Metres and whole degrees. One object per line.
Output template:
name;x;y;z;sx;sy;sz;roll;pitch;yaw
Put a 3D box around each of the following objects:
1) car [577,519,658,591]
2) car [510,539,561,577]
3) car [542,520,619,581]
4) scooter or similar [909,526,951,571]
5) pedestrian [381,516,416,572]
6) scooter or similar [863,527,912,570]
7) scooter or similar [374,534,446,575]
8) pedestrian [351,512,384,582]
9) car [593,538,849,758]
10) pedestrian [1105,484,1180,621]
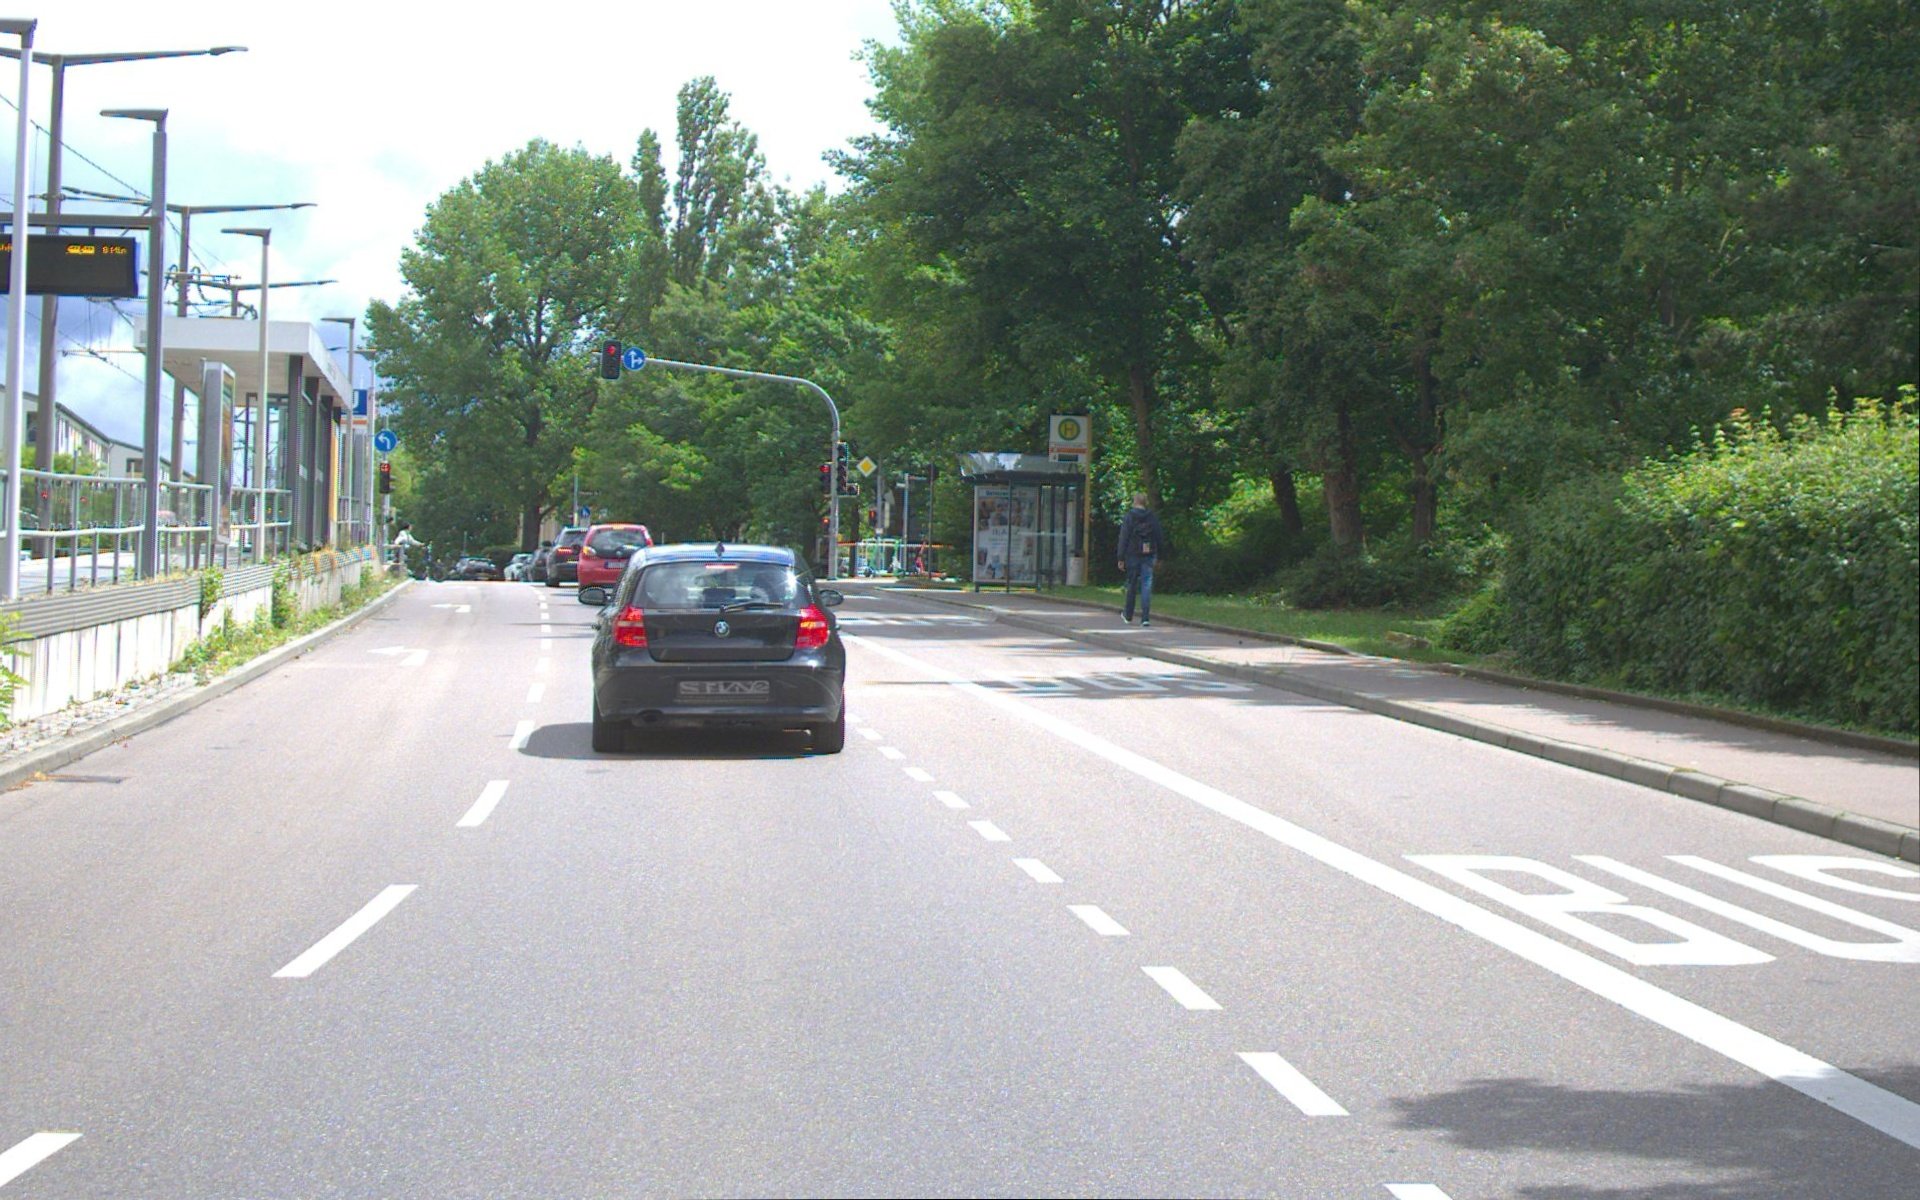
car;-7.035;-0.937;70.412;1.594;1.414;3.518;1;1;-6
car;-16.574;-1.656;134.348;1.654;1.414;3.517;2;1;-3
car;-9.020;-1.189;81.624;1.654;1.414;3.518;1;1;-9
scooter or similar;-0.846;-1.448;96.094;1.106;1.253;0.332;0;1;-18
pedestrian;-14.560;-1.449;89.190;0.865;1.437;0.799;0;1;-8
scooter or similar;-2.012;-1.420;95.206;1.287;1.185;0.385;0;1;-22
scooter or similar;-14.200;-1.167;88.757;1.780;1.047;0.410;0;1;-27
pedestrian;-13.892;-1.244;80.623;0.701;1.627;0.638;0;1;-5
car;-1.721;0.286;24.215;1.654;1.414;3.518;1;1;-5
pedestrian;2.576;-0.678;48.695;0.801;1.889;1.271;2;1;-6
